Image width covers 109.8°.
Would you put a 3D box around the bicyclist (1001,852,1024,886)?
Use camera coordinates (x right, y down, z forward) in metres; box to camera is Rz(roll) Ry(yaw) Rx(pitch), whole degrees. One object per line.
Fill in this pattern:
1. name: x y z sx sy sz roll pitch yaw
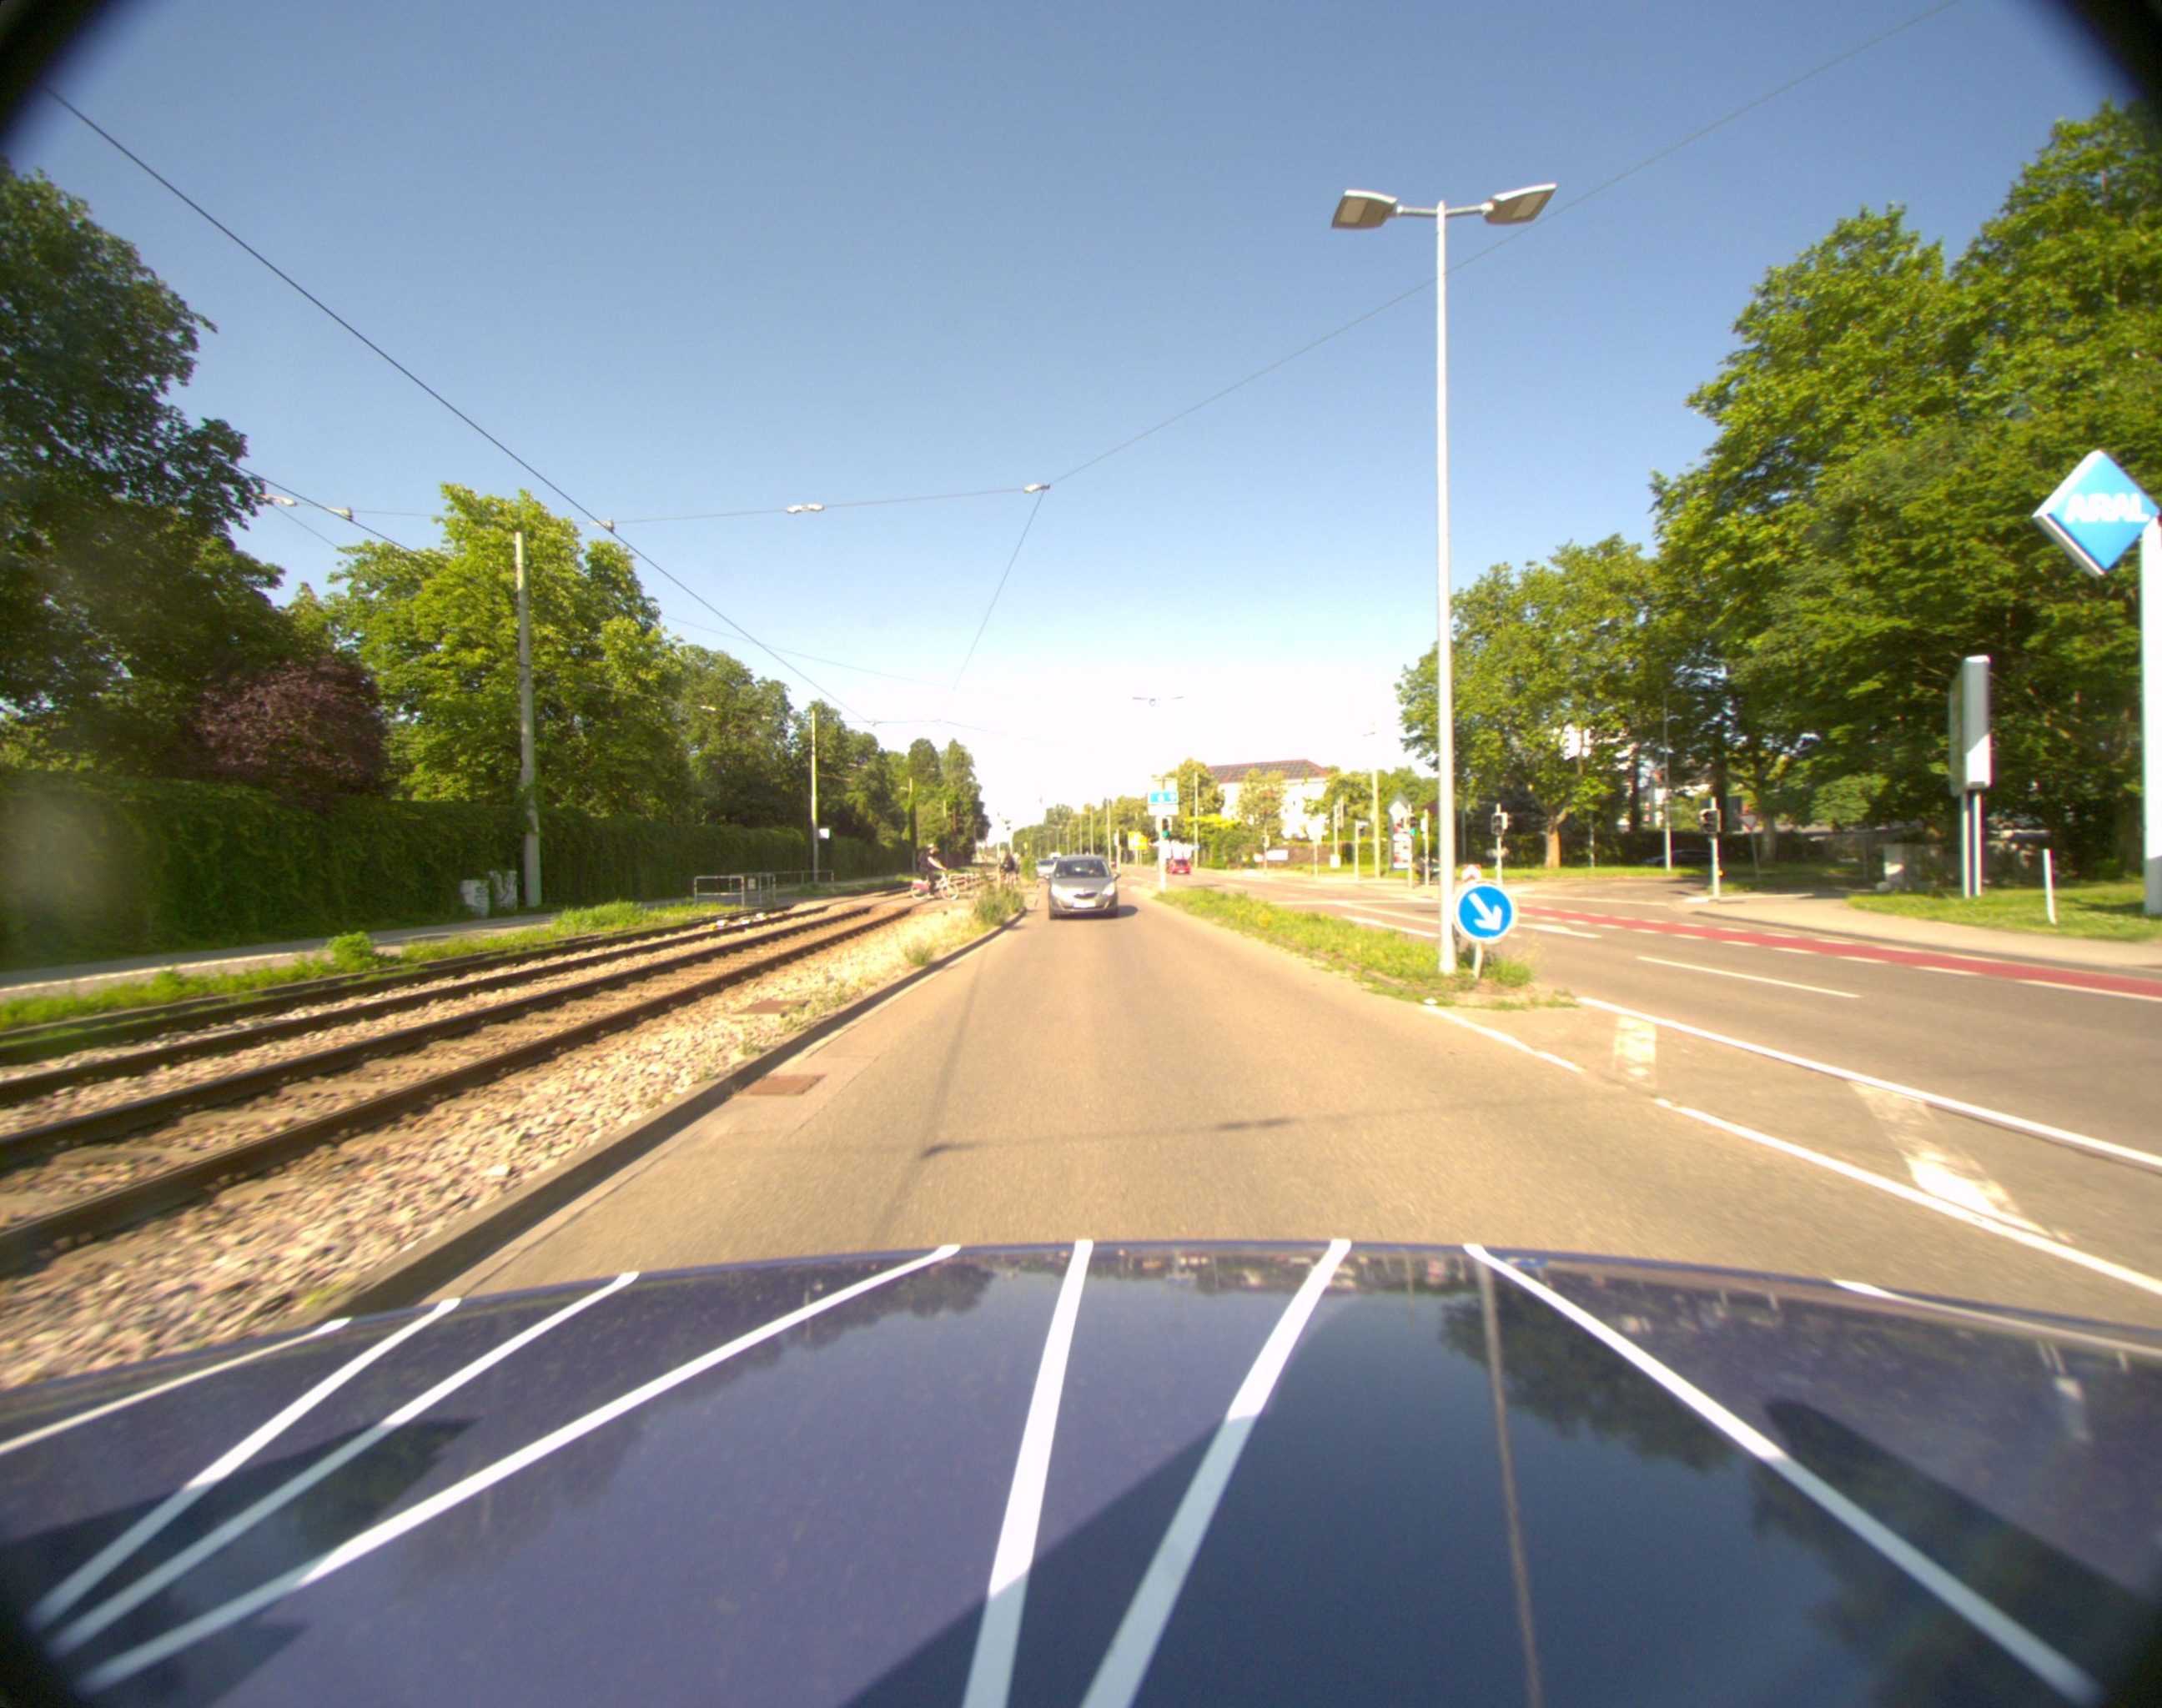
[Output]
1. bicyclist: -2.837 0.622 31.580 0.644 1.407 1.014 -1 0 14

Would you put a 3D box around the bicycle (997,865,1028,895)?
1. bicycle: -2.831 1.075 31.690 0.644 1.147 1.939 2 1 14

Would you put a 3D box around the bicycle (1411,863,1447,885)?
1. bicycle: 17.231 0.975 37.687 0.663 1.043 2.580 -1 0 1

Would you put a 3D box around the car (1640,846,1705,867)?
1. car: 42.860 0.173 55.135 3.421 1.300 1.508 -3 1 4

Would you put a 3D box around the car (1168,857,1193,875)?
1. car: 8.527 1.022 65.392 1.578 1.408 3.333 -1 0 -1

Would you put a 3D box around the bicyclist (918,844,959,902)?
1. bicyclist: -4.975 0.640 26.558 1.034 1.982 0.949 -1 1 22

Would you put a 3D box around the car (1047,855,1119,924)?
1. car: -0.014 0.844 19.929 1.650 1.581 3.832 -2 0 -2

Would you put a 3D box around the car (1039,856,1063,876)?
1. car: -2.520 0.937 62.616 1.711 1.513 3.831 -2 0 -5

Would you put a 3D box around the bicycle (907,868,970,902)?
1. bicycle: -4.978 1.069 26.568 1.923 1.108 0.949 -1 0 22

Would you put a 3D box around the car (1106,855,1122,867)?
1. car: 4.174 0.907 97.554 1.657 1.387 4.132 -1 0 -3

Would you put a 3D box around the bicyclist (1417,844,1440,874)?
1. bicyclist: 17.222 0.245 37.690 0.663 1.444 1.051 -1 1 1
